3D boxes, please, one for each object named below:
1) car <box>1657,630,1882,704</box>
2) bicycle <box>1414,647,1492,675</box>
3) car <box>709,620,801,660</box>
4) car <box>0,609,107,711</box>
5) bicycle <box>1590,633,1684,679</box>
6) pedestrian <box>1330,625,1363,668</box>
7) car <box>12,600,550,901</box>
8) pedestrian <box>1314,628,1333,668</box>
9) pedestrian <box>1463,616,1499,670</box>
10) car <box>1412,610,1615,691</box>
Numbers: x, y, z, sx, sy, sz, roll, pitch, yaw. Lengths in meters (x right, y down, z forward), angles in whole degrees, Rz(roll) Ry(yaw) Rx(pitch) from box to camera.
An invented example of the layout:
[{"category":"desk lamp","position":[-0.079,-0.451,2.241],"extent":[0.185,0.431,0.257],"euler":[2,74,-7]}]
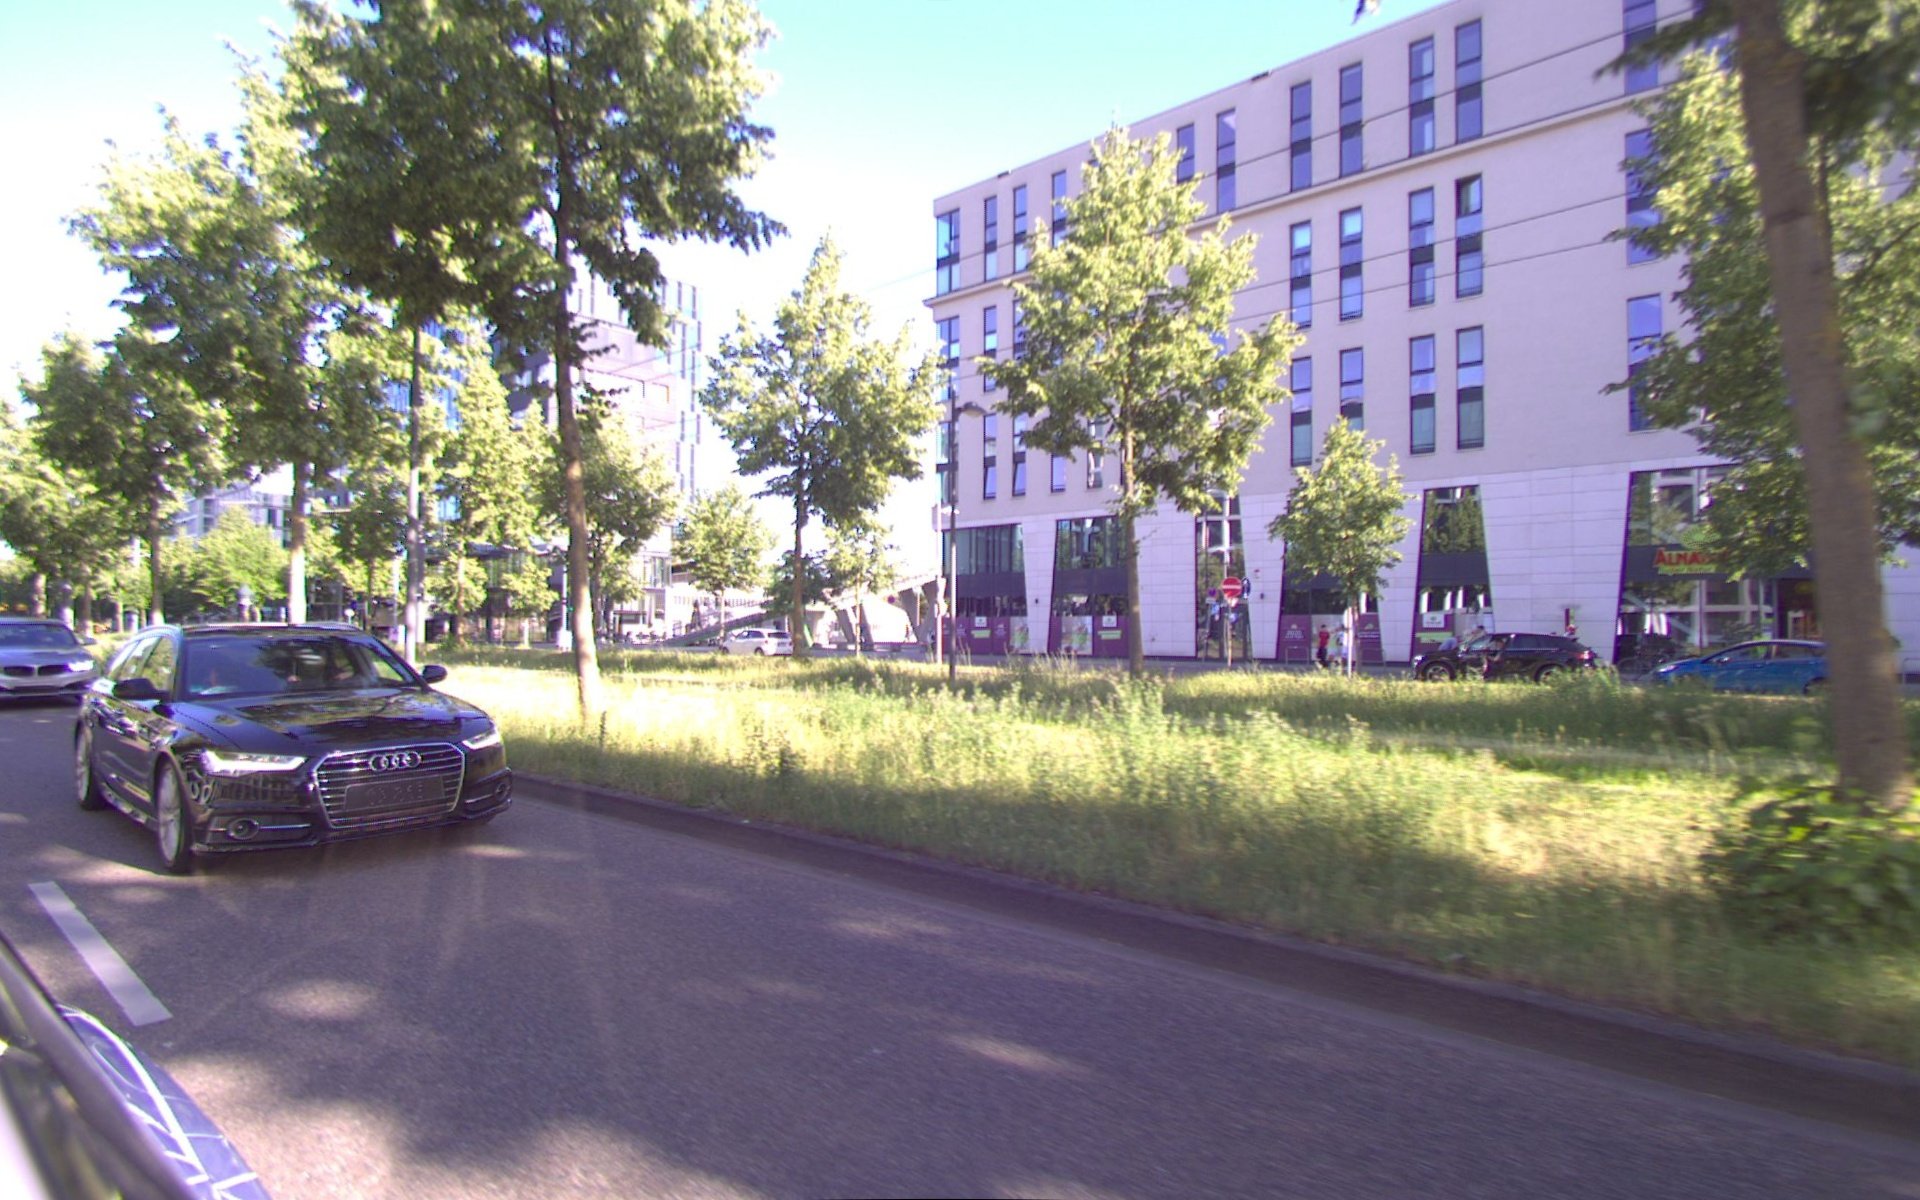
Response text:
[{"category":"car","position":[19.059,1.515,23.953],"extent":[3.999,1.584,1.972],"euler":[-1,-2,42]},{"category":"bicycle","position":[16.848,2.069,34.627],"extent":[0.653,0.854,2.340],"euler":[-1,0,-39]},{"category":"car","position":[-10.092,1.919,49.682],"extent":[4.417,1.822,2.079],"euler":[-1,0,39]},{"category":"car","position":[-16.535,0.979,17.732],"extent":[4.276,1.590,1.862],"euler":[-1,0,42]},{"category":"bicycle","position":[21.030,1.708,31.467],"extent":[0.653,1.335,2.338],"euler":[-1,0,-42]},{"category":"pedestrian","position":[14.429,1.722,37.776],"extent":[0.649,1.548,0.964],"euler":[-1,0,-45]},{"category":"car","position":[-5.206,0.846,7.421],"extent":[5.080,1.492,1.933],"euler":[-2,-3,40]},{"category":"pedestrian","position":[13.728,1.803,38.228],"extent":[0.459,1.470,0.595],"euler":[-1,0,44]},{"category":"pedestrian","position":[18.616,1.513,36.166],"extent":[0.649,1.869,0.964],"euler":[-1,0,-45]},{"category":"car","position":[14.954,1.325,27.448],"extent":[4.549,2.029,1.974],"euler":[-1,-2,39]}]
